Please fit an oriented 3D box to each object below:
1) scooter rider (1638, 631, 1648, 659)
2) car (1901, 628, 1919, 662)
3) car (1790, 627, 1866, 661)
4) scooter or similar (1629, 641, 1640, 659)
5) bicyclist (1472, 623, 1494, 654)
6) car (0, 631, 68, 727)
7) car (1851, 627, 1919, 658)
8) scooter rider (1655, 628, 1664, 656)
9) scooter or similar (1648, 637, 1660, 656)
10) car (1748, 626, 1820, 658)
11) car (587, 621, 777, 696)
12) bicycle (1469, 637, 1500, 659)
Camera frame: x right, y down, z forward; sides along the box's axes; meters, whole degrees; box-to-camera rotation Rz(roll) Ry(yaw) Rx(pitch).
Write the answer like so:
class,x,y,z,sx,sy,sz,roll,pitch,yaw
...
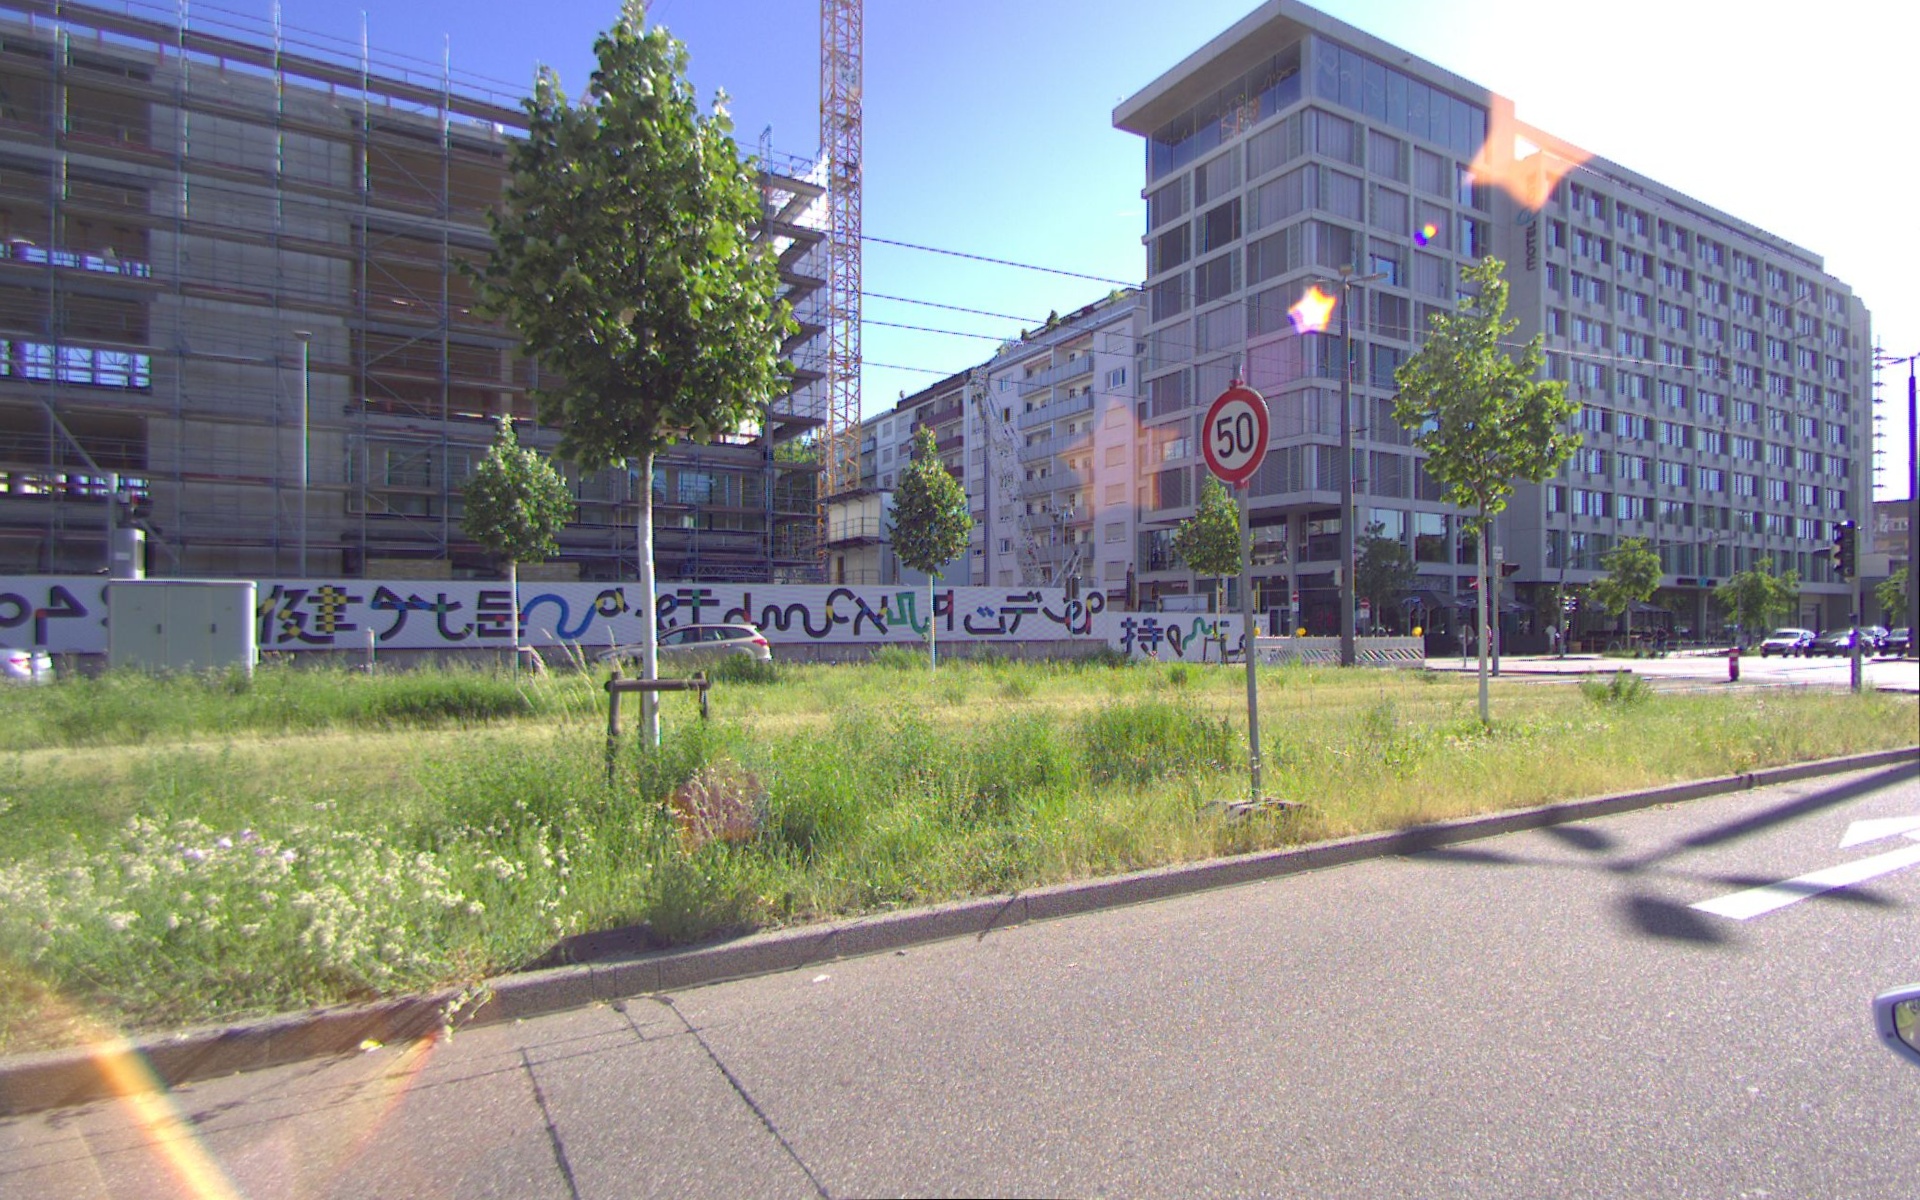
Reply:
class,x,y,z,sx,sy,sz,roll,pitch,yaw
scooter rider,37.050,2.436,54.488,0.236,1.472,0.340,1,-1,-30
car,49.229,2.237,50.385,4.284,1.673,1.782,1,-2,-30
car,44.789,2.230,51.799,3.953,1.673,1.782,1,-2,-30
scooter or similar,36.732,2.704,54.729,0.760,0.960,0.283,1,-2,-38
bicyclist,26.933,1.986,51.731,0.881,1.601,0.591,1,0,-27
car,-20.261,1.505,19.165,4.473,1.816,1.984,1,-1,-30
car,51.536,2.356,55.902,3.953,1.673,1.782,1,-2,-30
scooter rider,37.342,2.227,53.615,0.236,1.472,0.340,1,-1,-30
scooter or similar,37.126,2.487,53.762,0.758,0.960,0.227,1,-1,-30
car,45.353,2.284,55.274,3.953,1.673,1.782,1,-2,-30
car,-7.222,1.451,26.184,4.470,1.816,1.986,1,-1,-28
bicycle,26.987,2.465,51.697,1.601,1.115,0.584,1,0,-27
